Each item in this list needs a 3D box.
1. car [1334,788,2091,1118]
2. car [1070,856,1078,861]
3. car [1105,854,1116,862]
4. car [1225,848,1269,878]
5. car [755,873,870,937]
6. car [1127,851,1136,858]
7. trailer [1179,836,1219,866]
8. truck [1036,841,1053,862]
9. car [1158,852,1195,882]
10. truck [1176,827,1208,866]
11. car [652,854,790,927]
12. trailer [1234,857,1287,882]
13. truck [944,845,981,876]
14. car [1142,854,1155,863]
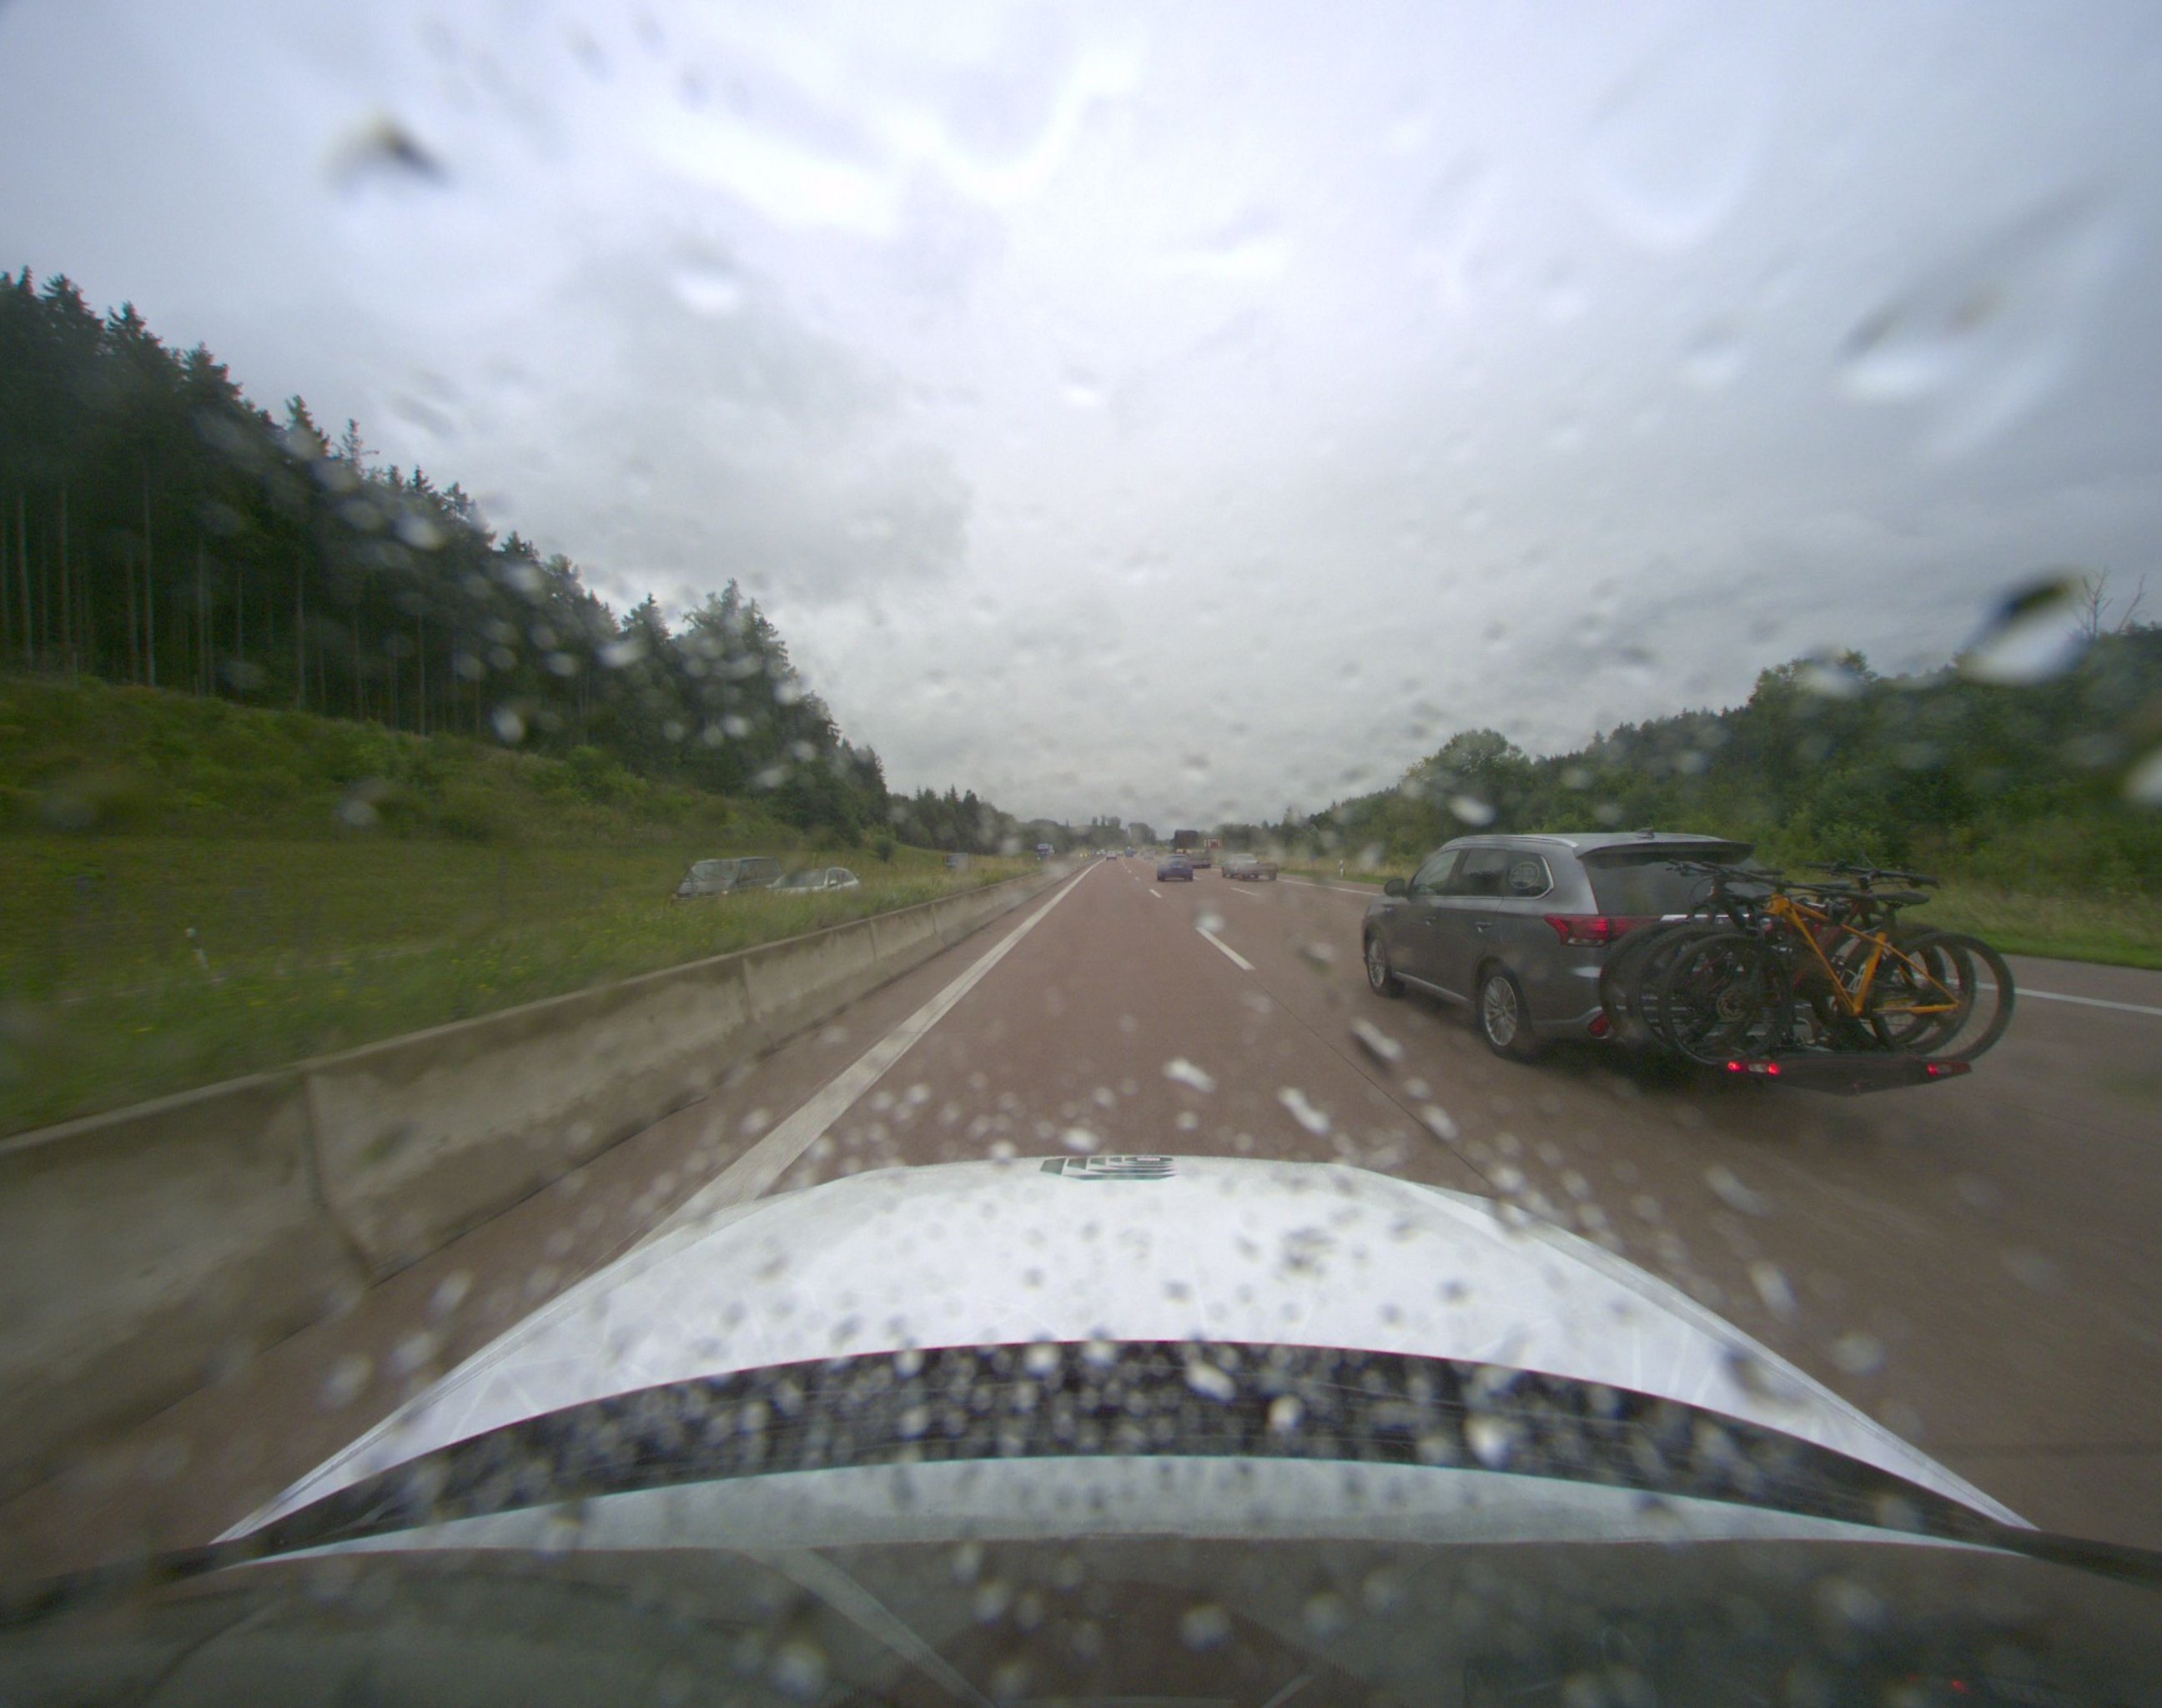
[{"bbox_3d":[3.980,0.529,6.890,1.986,1.593,5.821,0,-1,1],"label":"car"},{"bbox_3d":[-1.780,1.194,216.800,1.812,1.369,5.116,0,-1,2],"label":"car"},{"bbox_3d":[5.492,0.767,150.912,1.866,1.444,4.882,-1,1,3],"label":"car"},{"bbox_3d":[9.583,0.529,47.355,1.691,1.611,4.979,-2,-1,2],"label":"car"},{"bbox_3d":[-7.325,1.343,22.627,1.836,1.603,3.847,0,-1,2],"label":"car"},{"bbox_3d":[12.995,0.253,211.567,2.313,1.750,4.881,-1,-1,3],"label":"car"},{"bbox_3d":[11.321,-0.164,79.376,2.869,2.676,11.407,-1,-1,3],"label":"trailer"},{"bbox_3d":[-8.140,-0.616,184.073,2.953,4.319,7.652,-5,1,2],"label":"truck"},{"bbox_3d":[5.248,0.743,45.054,1.764,1.564,4.150,-1,-1,3],"label":"car"},{"bbox_3d":[11.780,-0.679,86.943,2.885,3.965,6.993,-1,-1,3],"label":"truck"},{"bbox_3d":[-11.497,1.111,26.491,2.031,2.058,5.071,-3,-1,2],"label":"car"},{"bbox_3d":[9.310,0.755,42.660,1.963,1.166,4.643,-1,0,3],"label":"trailer"},{"bbox_3d":[-12.703,0.754,87.604,2.853,3.172,6.497,0,-1,2],"label":"truck"},{"bbox_3d":[12.725,0.895,153.820,2.313,1.750,4.881,-1,-1,3],"label":"car"}]
